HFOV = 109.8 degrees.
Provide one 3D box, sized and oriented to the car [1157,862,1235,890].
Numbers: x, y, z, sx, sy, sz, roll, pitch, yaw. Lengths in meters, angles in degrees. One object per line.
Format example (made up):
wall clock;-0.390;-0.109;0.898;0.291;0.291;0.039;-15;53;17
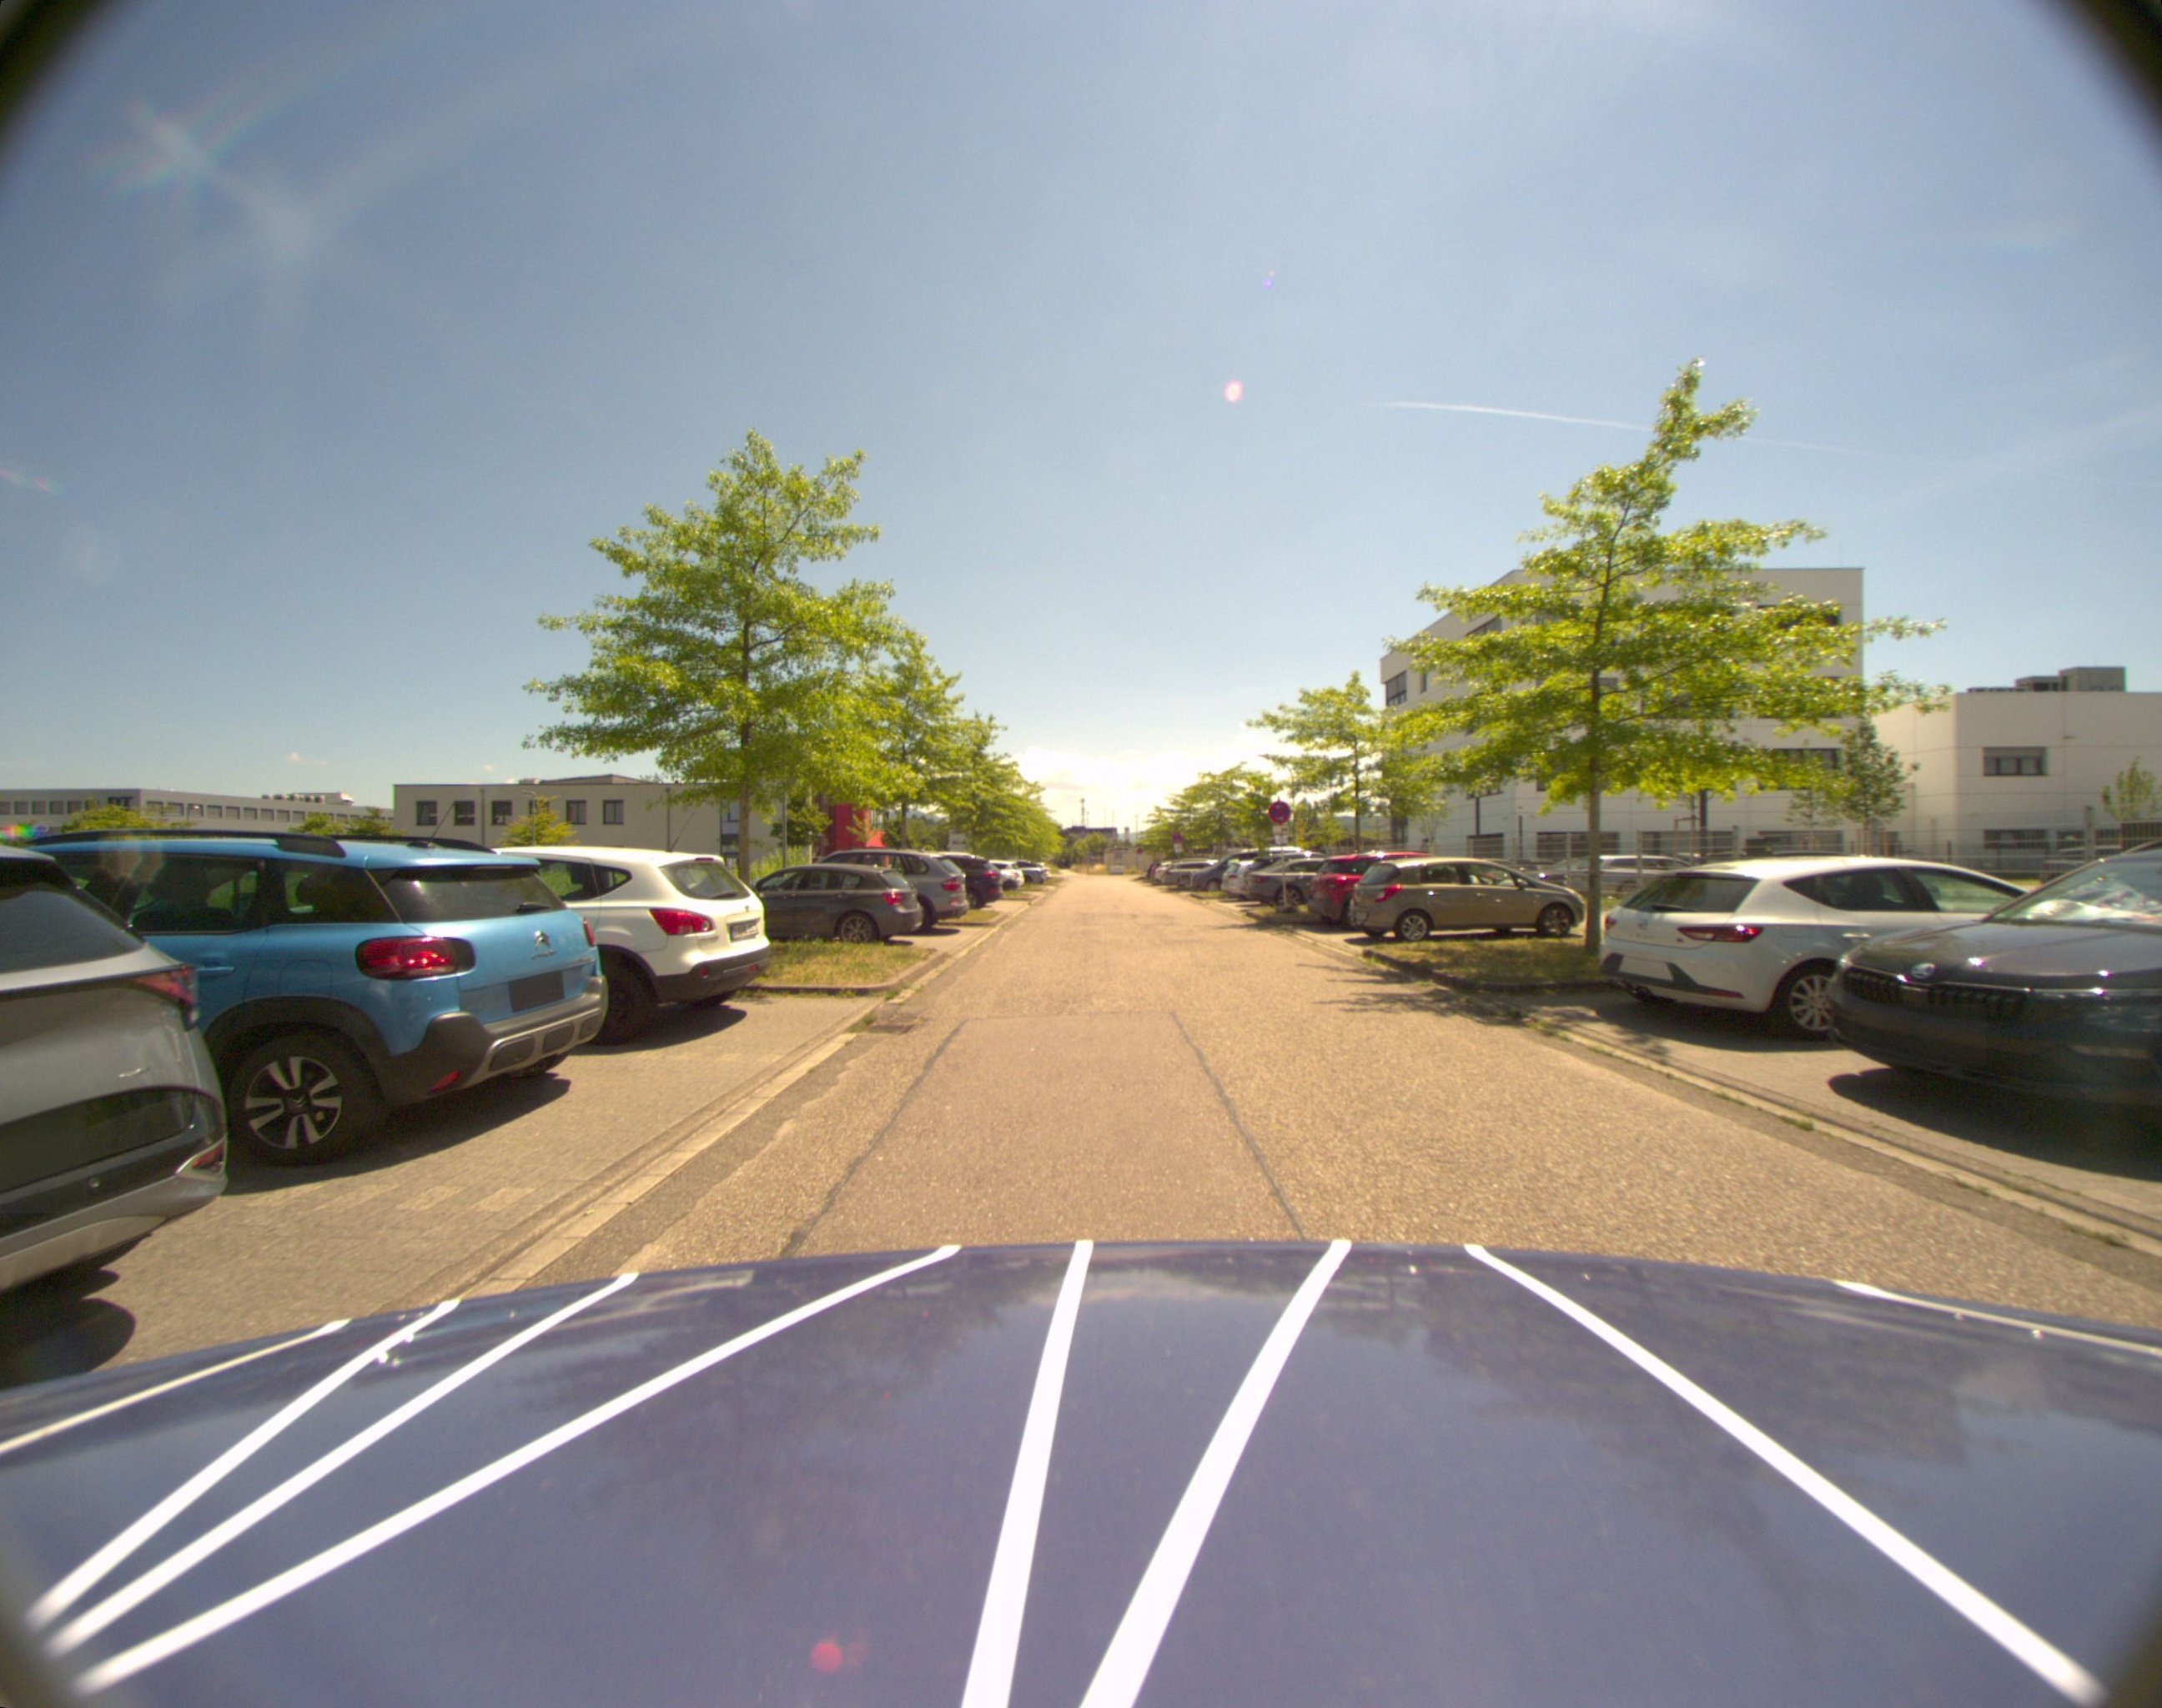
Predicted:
car;6.868;1.314;45.667;4.322;1.464;1.727;-2;-1;-2

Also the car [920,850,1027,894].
car;-4.710;0.774;33.705;4.413;1.819;1.796;1;0;2

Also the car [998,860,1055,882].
car;-3.906;1.224;54.971;3.842;1.544;1.781;0;-1;5

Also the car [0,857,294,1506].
car;-4.887;0.799;1.719;4.290;1.634;1.851;1;0;1

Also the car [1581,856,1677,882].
car;27.678;0.738;38.524;1.998;1.220;4.000;0;0;0

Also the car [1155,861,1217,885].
car;7.453;1.378;54.391;4.182;1.504;1.808;-2;-1;2

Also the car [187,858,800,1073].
car;-4.944;0.874;6.878;4.078;1.598;1.901;1;1;1

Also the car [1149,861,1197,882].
car;7.666;1.476;63.716;3.915;1.582;1.728;-2;-1;4

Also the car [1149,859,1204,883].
car;7.178;1.265;57.156;3.849;1.582;1.727;-2;-1;-2

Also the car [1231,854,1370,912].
car;7.210;0.932;25.215;3.998;1.668;1.776;-2;0;-4

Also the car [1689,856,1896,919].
car;17.255;0.792;18.551;3.488;1.382;1.678;1;0;0

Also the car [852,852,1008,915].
car;-4.321;0.836;22.243;4.184;1.686;1.782;1;0;0

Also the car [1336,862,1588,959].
car;6.749;0.951;13.706;3.667;1.499;1.731;-2;0;-3

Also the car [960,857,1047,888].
car;-4.331;1.026;42.830;4.729;1.551;1.913;1;0;-3

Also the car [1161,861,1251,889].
car;7.061;1.179;43.194;4.725;1.438;1.857;-2;-1;-1

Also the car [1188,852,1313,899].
car;7.403;0.923;33.602;5.082;1.880;1.997;-2;0;2

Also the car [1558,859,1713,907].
car;16.808;0.863;23.150;3.488;1.382;1.678;0;0;0

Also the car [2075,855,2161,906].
car;36.894;0.888;25.449;1.998;1.706;4.000;1;0;0

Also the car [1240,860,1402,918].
car;6.994;0.992;22.428;4.203;1.471;1.713;-2;0;1

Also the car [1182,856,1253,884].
car;8.600;1.006;48.121;4.127;1.625;1.728;-2;-1;2

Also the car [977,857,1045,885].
car;-4.394;1.077;47.893;4.056;1.615;1.693;1;0;1

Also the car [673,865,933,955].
car;-4.808;0.949;13.591;3.932;1.401;1.909;1;1;0

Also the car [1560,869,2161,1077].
car;6.972;0.933;6.885;4.087;1.415;1.873;-2;0;-3

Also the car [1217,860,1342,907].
car;7.145;1.045;27.531;4.048;1.452;1.604;-2;0;-2

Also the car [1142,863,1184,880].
car;7.369;1.569;68.526;3.513;1.432;1.728;-2;-1;0

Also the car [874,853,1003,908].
car;-4.626;0.861;25.081;3.885;1.668;1.782;1;0;1

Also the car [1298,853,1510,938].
car;6.779;0.846;16.262;3.747;1.612;1.817;-2;0;1

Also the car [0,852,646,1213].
car;-5.075;0.826;4.428;3.997;1.634;1.838;1;0;0

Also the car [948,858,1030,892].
car;-4.359;1.006;36.378;3.640;1.494;1.676;1;0;1

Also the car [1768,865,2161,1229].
car;6.692;0.859;4.313;3.937;1.511;1.785;-2;0;0

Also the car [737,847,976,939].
car;-4.616;0.792;16.180;4.461;1.758;1.993;1;0;-1
